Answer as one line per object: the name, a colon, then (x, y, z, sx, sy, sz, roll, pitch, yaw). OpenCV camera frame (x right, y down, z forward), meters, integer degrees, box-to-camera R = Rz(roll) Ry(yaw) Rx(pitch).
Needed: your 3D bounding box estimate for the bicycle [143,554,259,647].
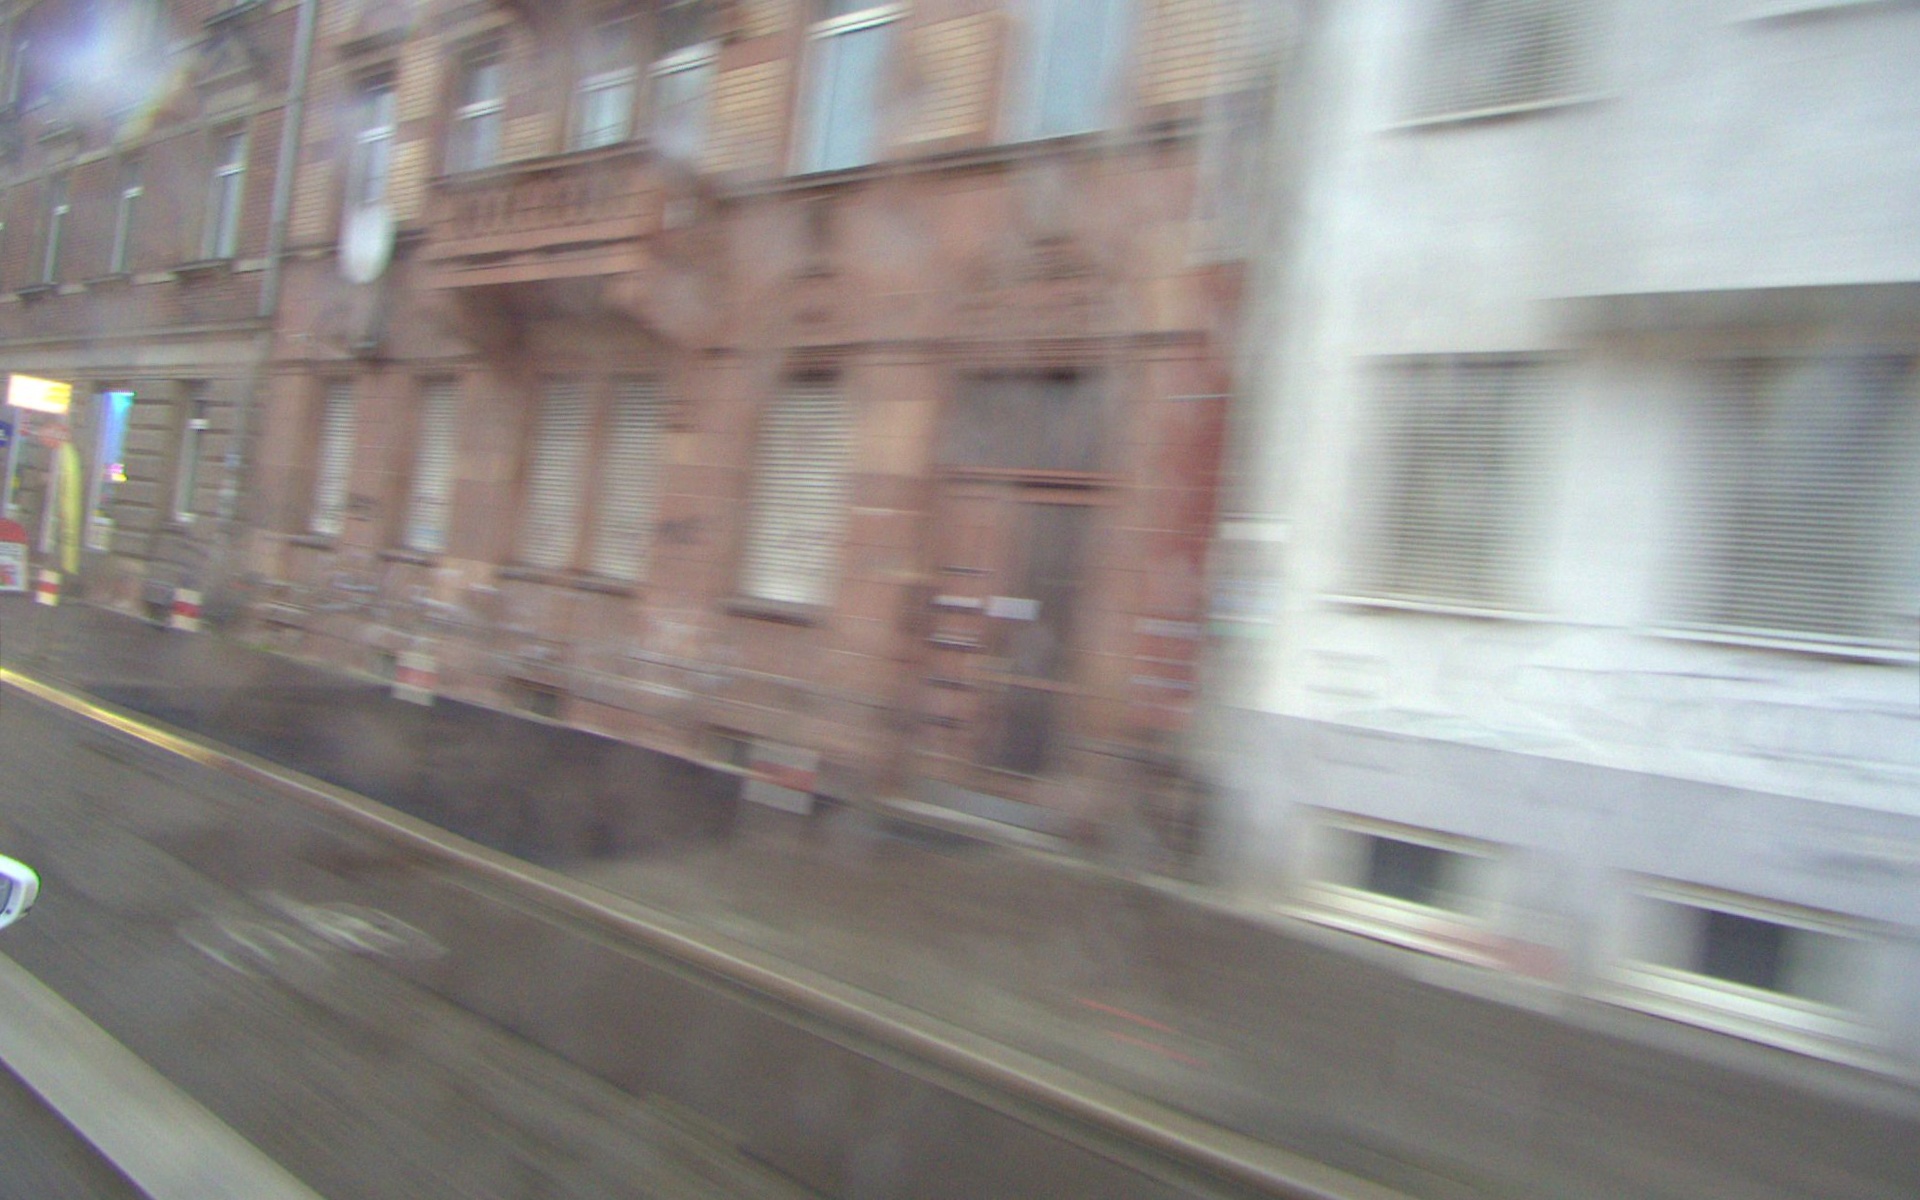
bicycle: (-9.376, -0.008, 12.402, 1.835, 0.922, 0.398, 7, -1, 31)
